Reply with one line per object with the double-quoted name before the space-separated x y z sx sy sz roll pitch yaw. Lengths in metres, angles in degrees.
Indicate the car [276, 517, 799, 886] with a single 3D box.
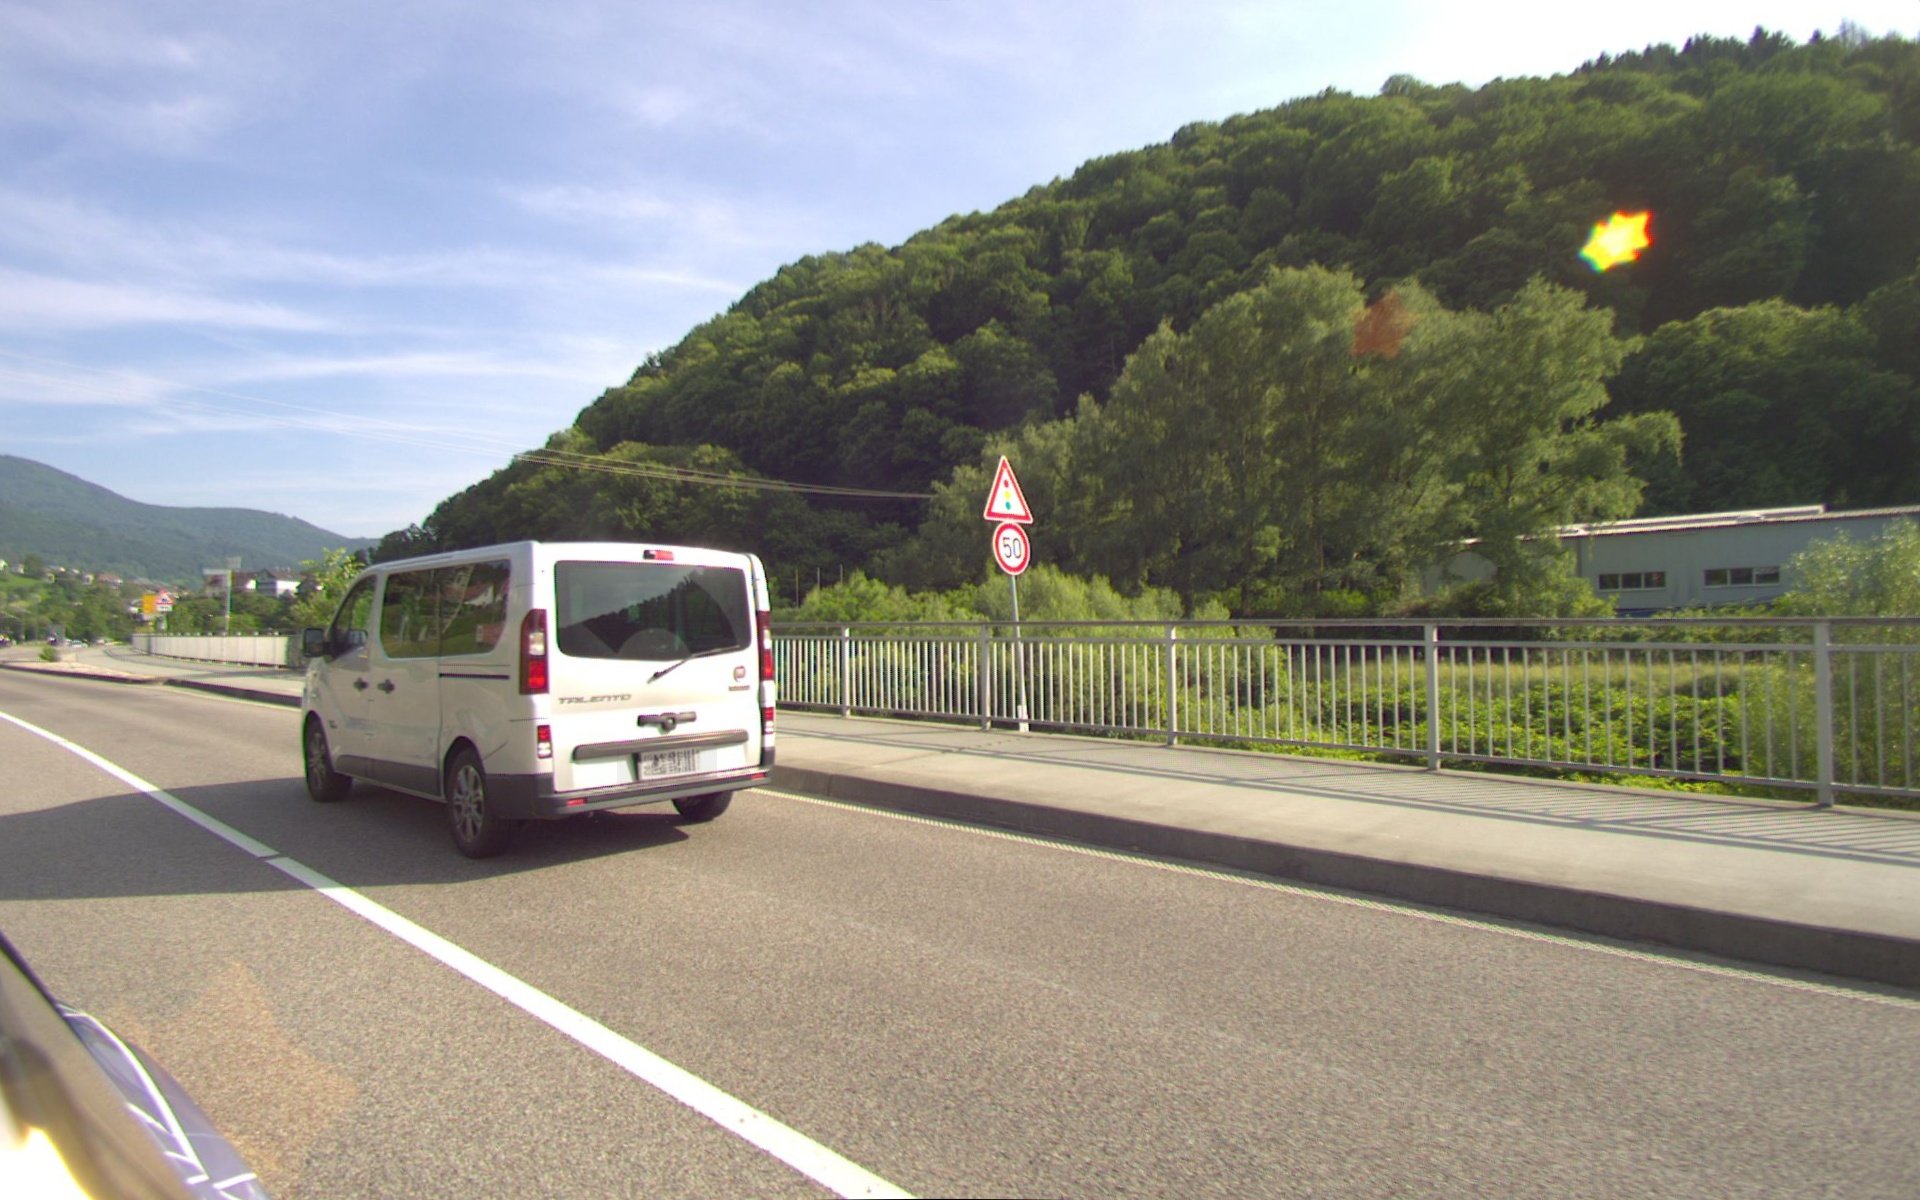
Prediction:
"car" -3.590 0.597 7.928 5.148 1.982 1.898 -1 -2 44
